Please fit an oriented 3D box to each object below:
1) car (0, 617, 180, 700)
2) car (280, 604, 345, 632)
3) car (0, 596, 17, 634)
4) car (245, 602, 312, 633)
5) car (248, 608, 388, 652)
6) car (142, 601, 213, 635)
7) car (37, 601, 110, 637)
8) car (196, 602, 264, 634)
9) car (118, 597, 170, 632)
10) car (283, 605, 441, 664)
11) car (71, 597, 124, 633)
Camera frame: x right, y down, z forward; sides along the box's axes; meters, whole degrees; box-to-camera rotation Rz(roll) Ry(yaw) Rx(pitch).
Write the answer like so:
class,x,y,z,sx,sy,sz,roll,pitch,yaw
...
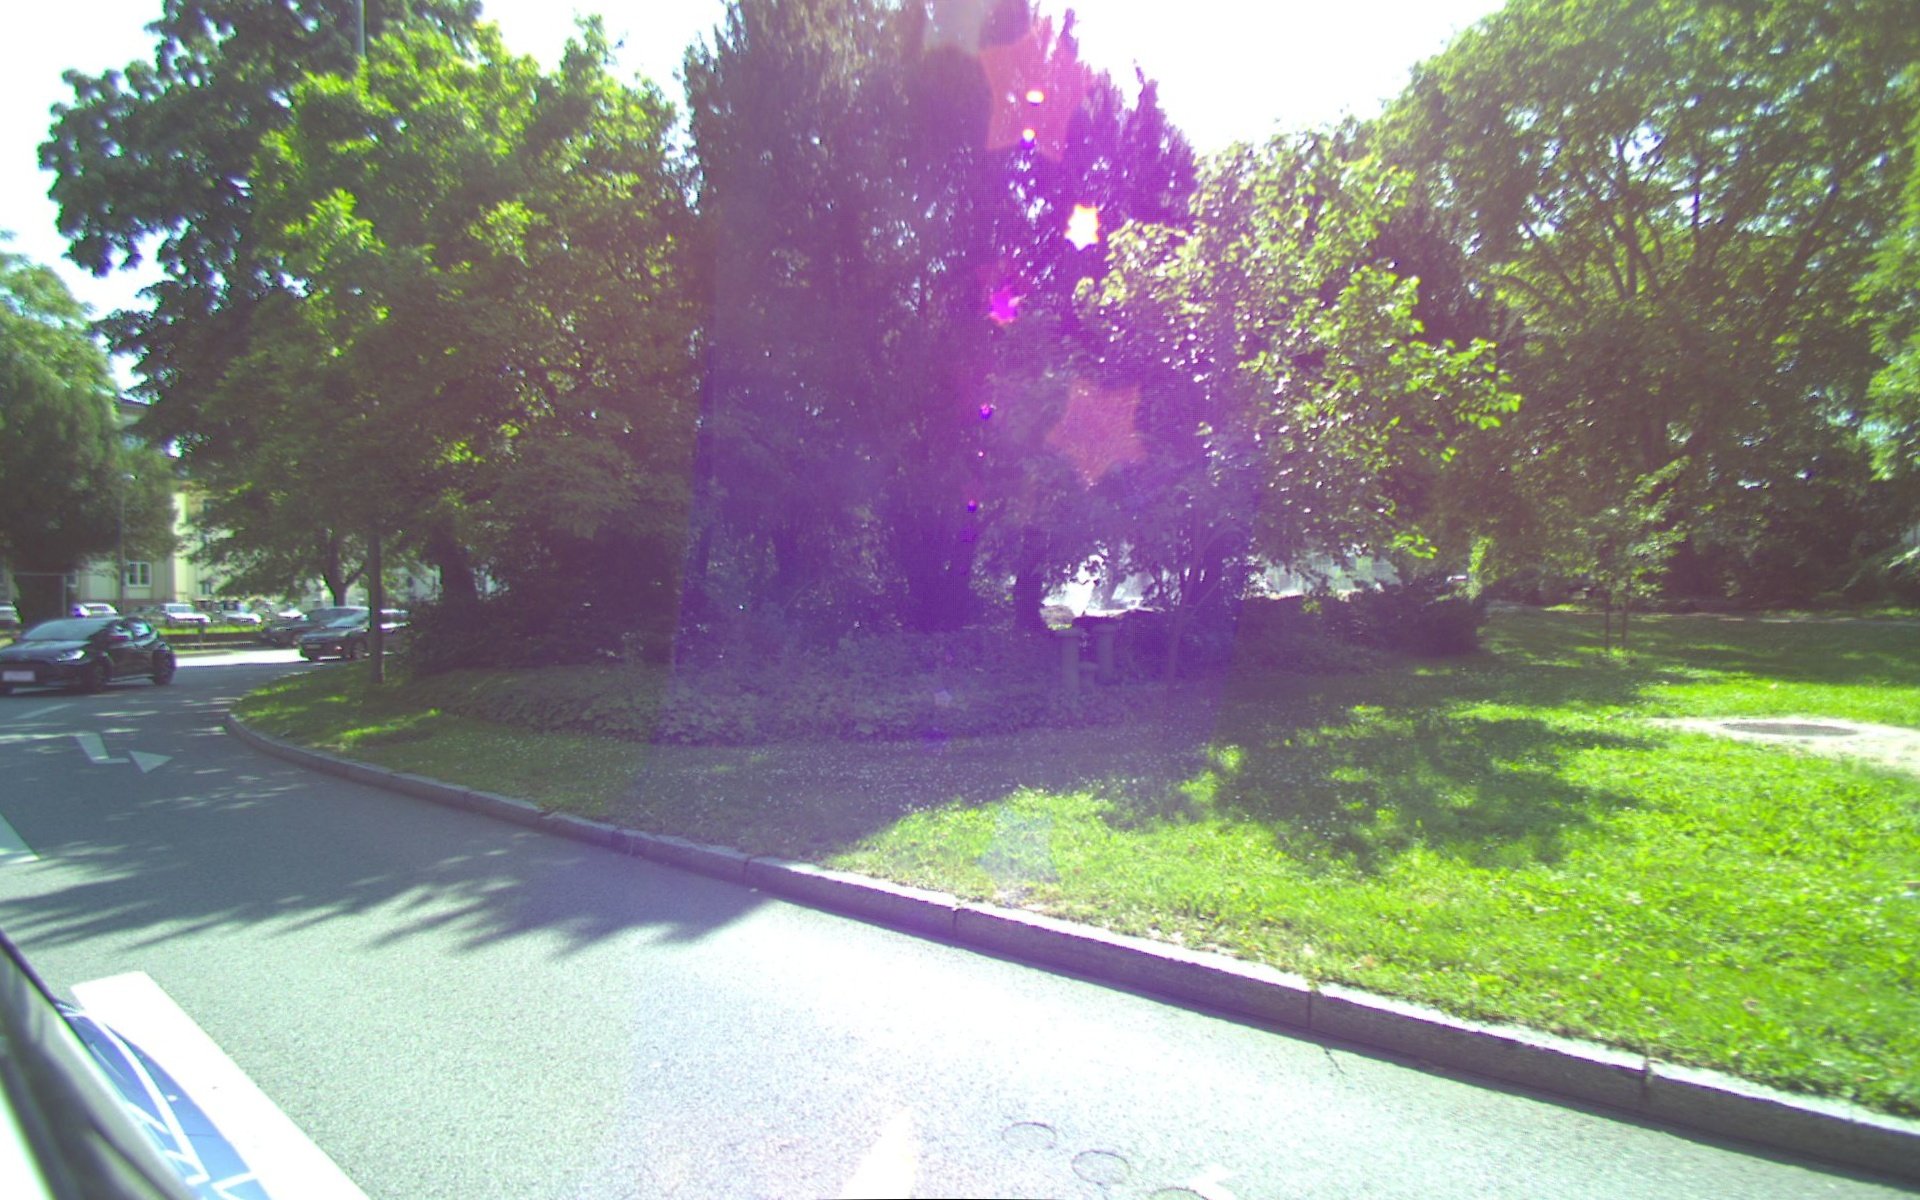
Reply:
class,x,y,z,sx,sy,sz,roll,pitch,yaw
car,-17.563,1.083,20.128,1.781,1.462,3.964,0,0,-13
car,-37.352,1.040,58.346,3.992,1.590,1.829,-1,0,36
car,-51.981,0.822,54.219,3.999,2.029,1.826,-1,0,42
car,-37.917,0.981,56.304,3.992,1.674,1.829,-1,0,36
car,-25.333,1.142,40.090,1.680,1.566,4.369,-1,0,33
car,-40.412,0.951,52.238,3.992,1.674,1.829,-1,0,36
car,-43.161,0.931,49.247,3.992,1.674,1.829,-1,0,36
car,-39.210,0.967,54.342,3.992,1.674,1.829,-1,0,36
car,-48.702,0.868,60.357,3.999,2.029,1.826,-1,0,42
car,-18.579,1.039,31.654,1.874,1.697,4.121,0,-1,15
car,-50.175,0.858,58.856,3.999,2.029,1.826,-1,0,42
